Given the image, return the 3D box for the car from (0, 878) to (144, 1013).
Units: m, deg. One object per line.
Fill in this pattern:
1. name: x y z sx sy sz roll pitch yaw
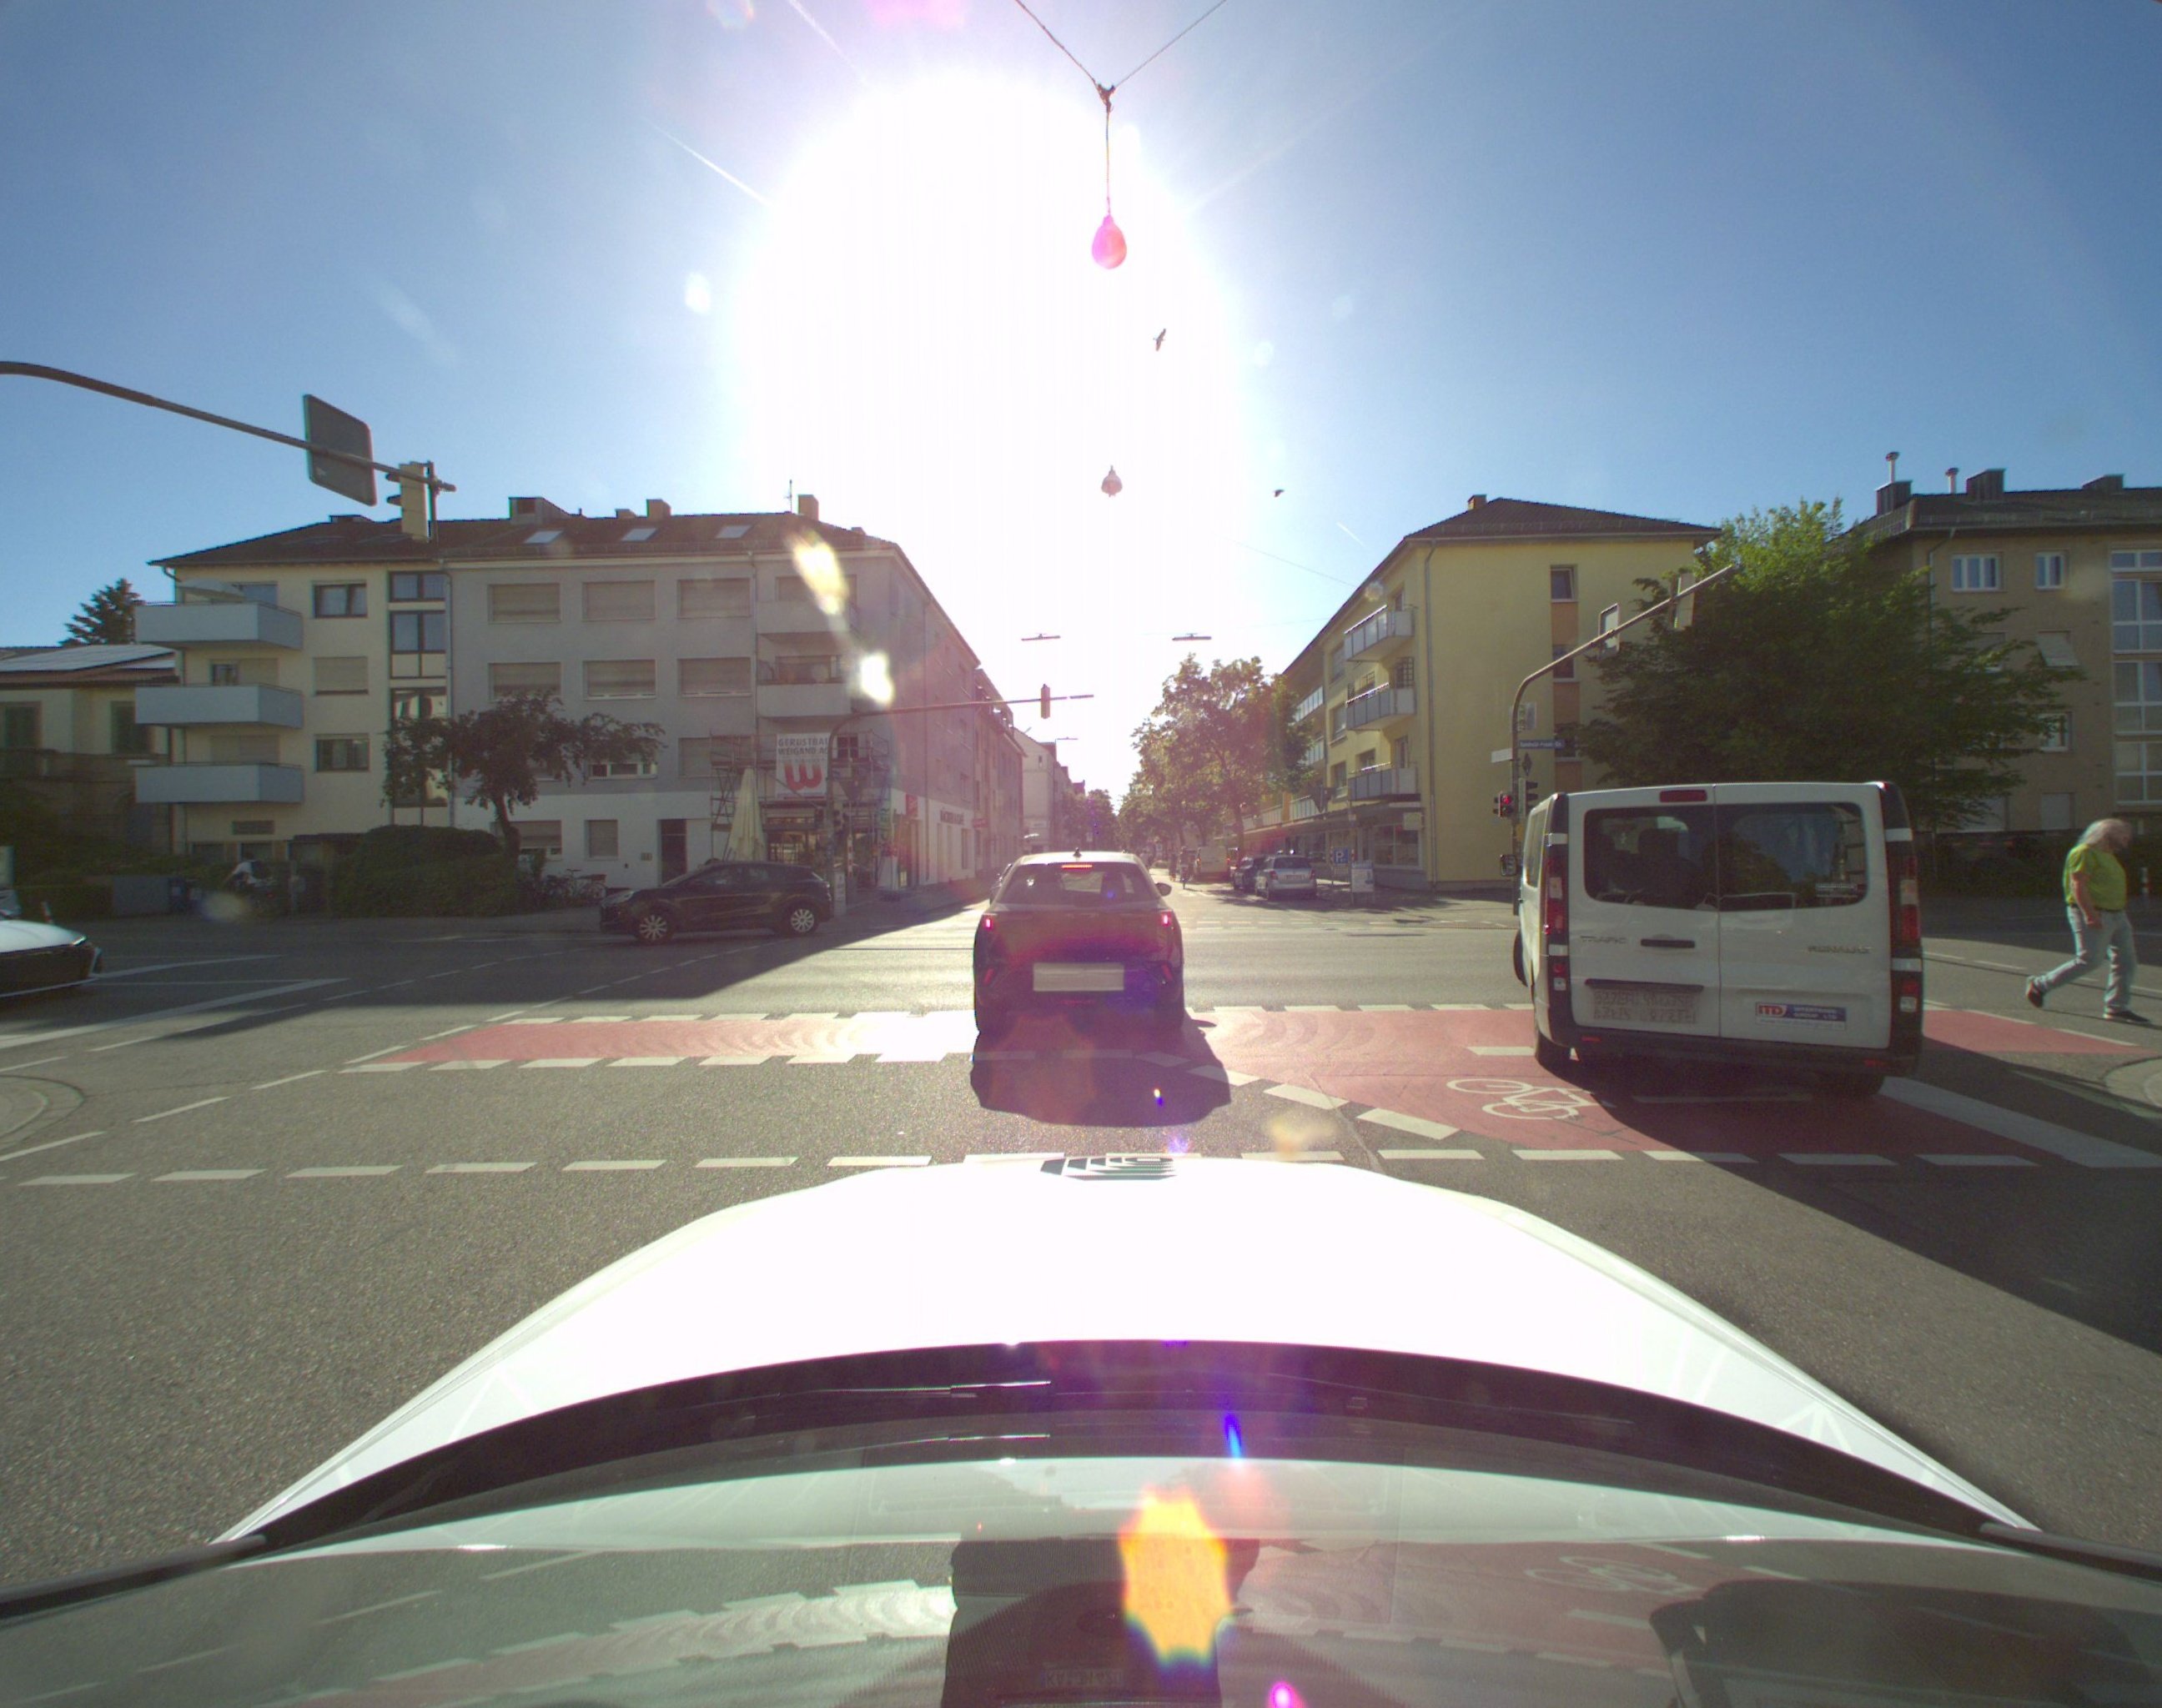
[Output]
1. car: -14.502 1.105 9.828 4.235 1.435 1.937 0 3 4

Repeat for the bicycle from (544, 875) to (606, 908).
1. bicycle: -15.465 1.140 24.914 1.581 0.940 0.513 -1 0 4

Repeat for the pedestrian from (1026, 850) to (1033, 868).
1. pedestrian: -4.244 0.434 67.484 0.575 1.467 0.702 -1 0 -3

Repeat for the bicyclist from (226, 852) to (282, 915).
1. bicyclist: -20.731 0.731 20.424 0.809 1.549 0.555 0 0 1

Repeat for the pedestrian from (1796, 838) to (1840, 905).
1. pedestrian: 17.500 0.410 19.354 0.537 1.571 0.539 -1 0 2

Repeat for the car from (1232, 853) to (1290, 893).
1. car: 7.192 0.726 32.808 1.706 1.483 3.383 -1 0 3

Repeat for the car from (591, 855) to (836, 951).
1. car: -7.061 0.866 15.812 4.106 1.566 1.580 -1 -1 -35

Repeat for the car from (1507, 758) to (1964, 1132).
1. car: 4.809 0.482 6.929 1.950 1.940 5.085 0 0 26

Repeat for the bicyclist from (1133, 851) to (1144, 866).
1. bicyclist: 4.991 0.365 71.066 0.853 1.314 1.211 1 0 2

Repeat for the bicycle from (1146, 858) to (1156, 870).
1. bicycle: 5.105 0.725 59.297 0.688 0.866 1.878 -1 0 3

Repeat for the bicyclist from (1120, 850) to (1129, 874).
1. bicyclist: 3.098 0.585 58.245 0.630 1.669 1.051 -2 0 2

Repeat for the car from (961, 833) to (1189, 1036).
1. car: 0.023 0.638 8.352 1.755 1.558 4.002 -1 0 2

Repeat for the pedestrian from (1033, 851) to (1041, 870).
1. pedestrian: -3.632 0.514 67.451 0.575 1.583 0.707 -1 0 -3

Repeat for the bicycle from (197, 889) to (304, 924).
1. bicycle: -20.791 1.303 20.411 2.117 0.833 0.555 0 0 1

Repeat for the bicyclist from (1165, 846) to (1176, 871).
1. bicyclist: 4.975 0.231 45.317 0.544 1.382 0.823 -1 0 3

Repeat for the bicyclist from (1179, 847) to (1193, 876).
1. bicyclist: 4.605 0.311 35.736 0.544 1.262 0.803 -1 0 3

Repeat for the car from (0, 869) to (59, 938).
1. car: -26.490 1.184 18.548 3.972 1.519 1.917 -1 1 1

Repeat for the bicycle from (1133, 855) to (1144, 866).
1. bicycle: 4.989 0.559 71.140 0.853 0.945 2.308 1 0 2

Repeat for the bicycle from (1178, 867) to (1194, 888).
1. bicycle: 4.614 1.016 35.809 0.544 0.866 1.878 -1 0 3

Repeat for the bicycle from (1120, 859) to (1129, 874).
1. bicycle: 3.112 0.891 58.463 0.630 1.041 1.796 -2 0 2

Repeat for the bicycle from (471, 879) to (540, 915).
1. bicycle: -16.047 1.203 22.718 1.581 0.940 0.513 -1 0 4

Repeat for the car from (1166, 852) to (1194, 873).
1. car: 7.181 0.602 59.257 1.706 1.483 3.383 -1 0 3

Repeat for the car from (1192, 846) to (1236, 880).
1. car: 7.560 0.477 46.721 2.037 1.846 4.588 -1 0 3

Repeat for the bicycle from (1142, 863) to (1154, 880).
1. bicycle: 3.615 0.950 44.097 0.617 0.866 1.878 -1 0 3

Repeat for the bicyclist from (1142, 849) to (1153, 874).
1. bicyclist: 3.608 0.401 44.109 0.586 1.382 0.823 -1 0 3

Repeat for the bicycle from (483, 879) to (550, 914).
1. bicycle: -16.209 1.208 23.381 1.581 0.940 0.513 -1 0 4

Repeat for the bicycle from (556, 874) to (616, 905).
1. bicycle: -15.593 1.113 25.653 1.581 0.940 0.513 -1 0 4

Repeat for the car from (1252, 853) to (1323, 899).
1. car: 7.072 0.719 28.246 1.706 1.483 3.482 -1 0 3

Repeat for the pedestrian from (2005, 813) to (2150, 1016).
1. pedestrian: 9.051 0.527 7.418 0.523 1.762 0.623 -1 0 0

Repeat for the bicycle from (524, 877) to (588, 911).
1. bicycle: -15.547 1.173 24.124 1.581 0.940 0.513 -1 0 4

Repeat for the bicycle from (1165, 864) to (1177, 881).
1. bicycle: 5.001 1.021 45.427 0.544 0.866 1.878 -1 0 3

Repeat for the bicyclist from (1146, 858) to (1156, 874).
1. bicyclist: 5.126 0.870 59.479 0.689 1.193 0.595 -1 0 3

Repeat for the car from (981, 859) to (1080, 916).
1. car: -1.387 0.916 24.135 1.793 1.413 4.439 -3 0 11
